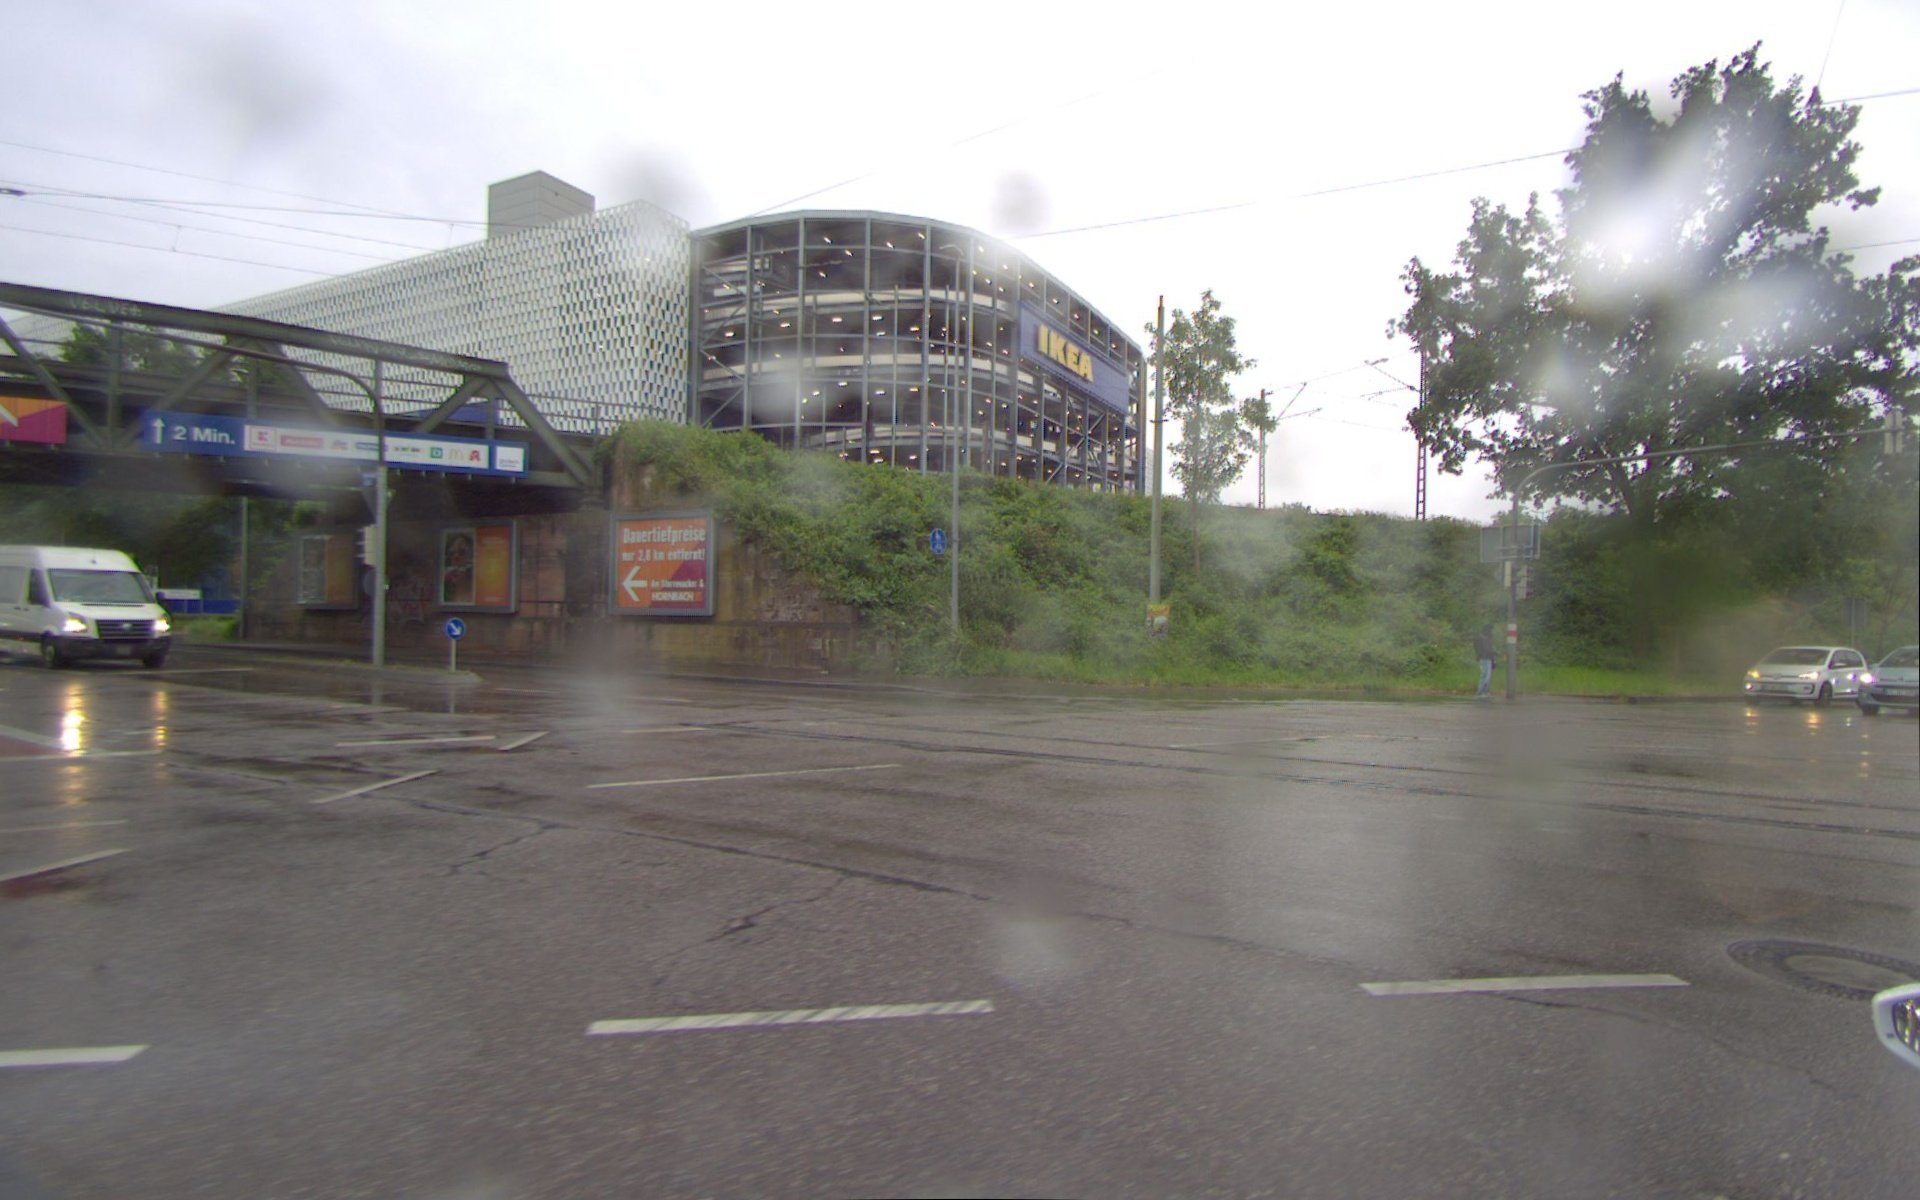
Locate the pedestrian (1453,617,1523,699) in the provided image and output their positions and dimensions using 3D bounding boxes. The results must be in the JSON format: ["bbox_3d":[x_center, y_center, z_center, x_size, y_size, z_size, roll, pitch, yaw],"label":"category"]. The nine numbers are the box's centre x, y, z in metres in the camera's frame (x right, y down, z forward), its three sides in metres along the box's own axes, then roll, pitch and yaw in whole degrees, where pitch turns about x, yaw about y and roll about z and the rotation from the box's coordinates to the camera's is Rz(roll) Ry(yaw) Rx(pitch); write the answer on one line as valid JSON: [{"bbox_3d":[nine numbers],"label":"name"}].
[{"bbox_3d":[12.483,1.354,23.763,1.120,1.871,1.093,2,-1,-38],"label":"pedestrian"}]

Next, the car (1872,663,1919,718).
[{"bbox_3d":[27.484,2.522,28.240,3.775,1.422,1.584,2,-1,-28],"label":"car"}]

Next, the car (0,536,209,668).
[{"bbox_3d":[-20.249,0.031,22.841,6.851,2.645,2.384,1,-1,29],"label":"car"}]

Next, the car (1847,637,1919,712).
[{"bbox_3d":[20.861,1.581,21.544,3.918,1.493,1.630,2,-2,-30],"label":"car"}]

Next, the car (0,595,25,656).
[{"bbox_3d":[-27.503,0.627,27.052,4.861,1.621,1.880,1,-1,28],"label":"car"}]

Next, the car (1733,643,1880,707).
[{"bbox_3d":[21.307,1.846,25.264,3.741,1.471,1.631,2,-2,-29],"label":"car"}]
